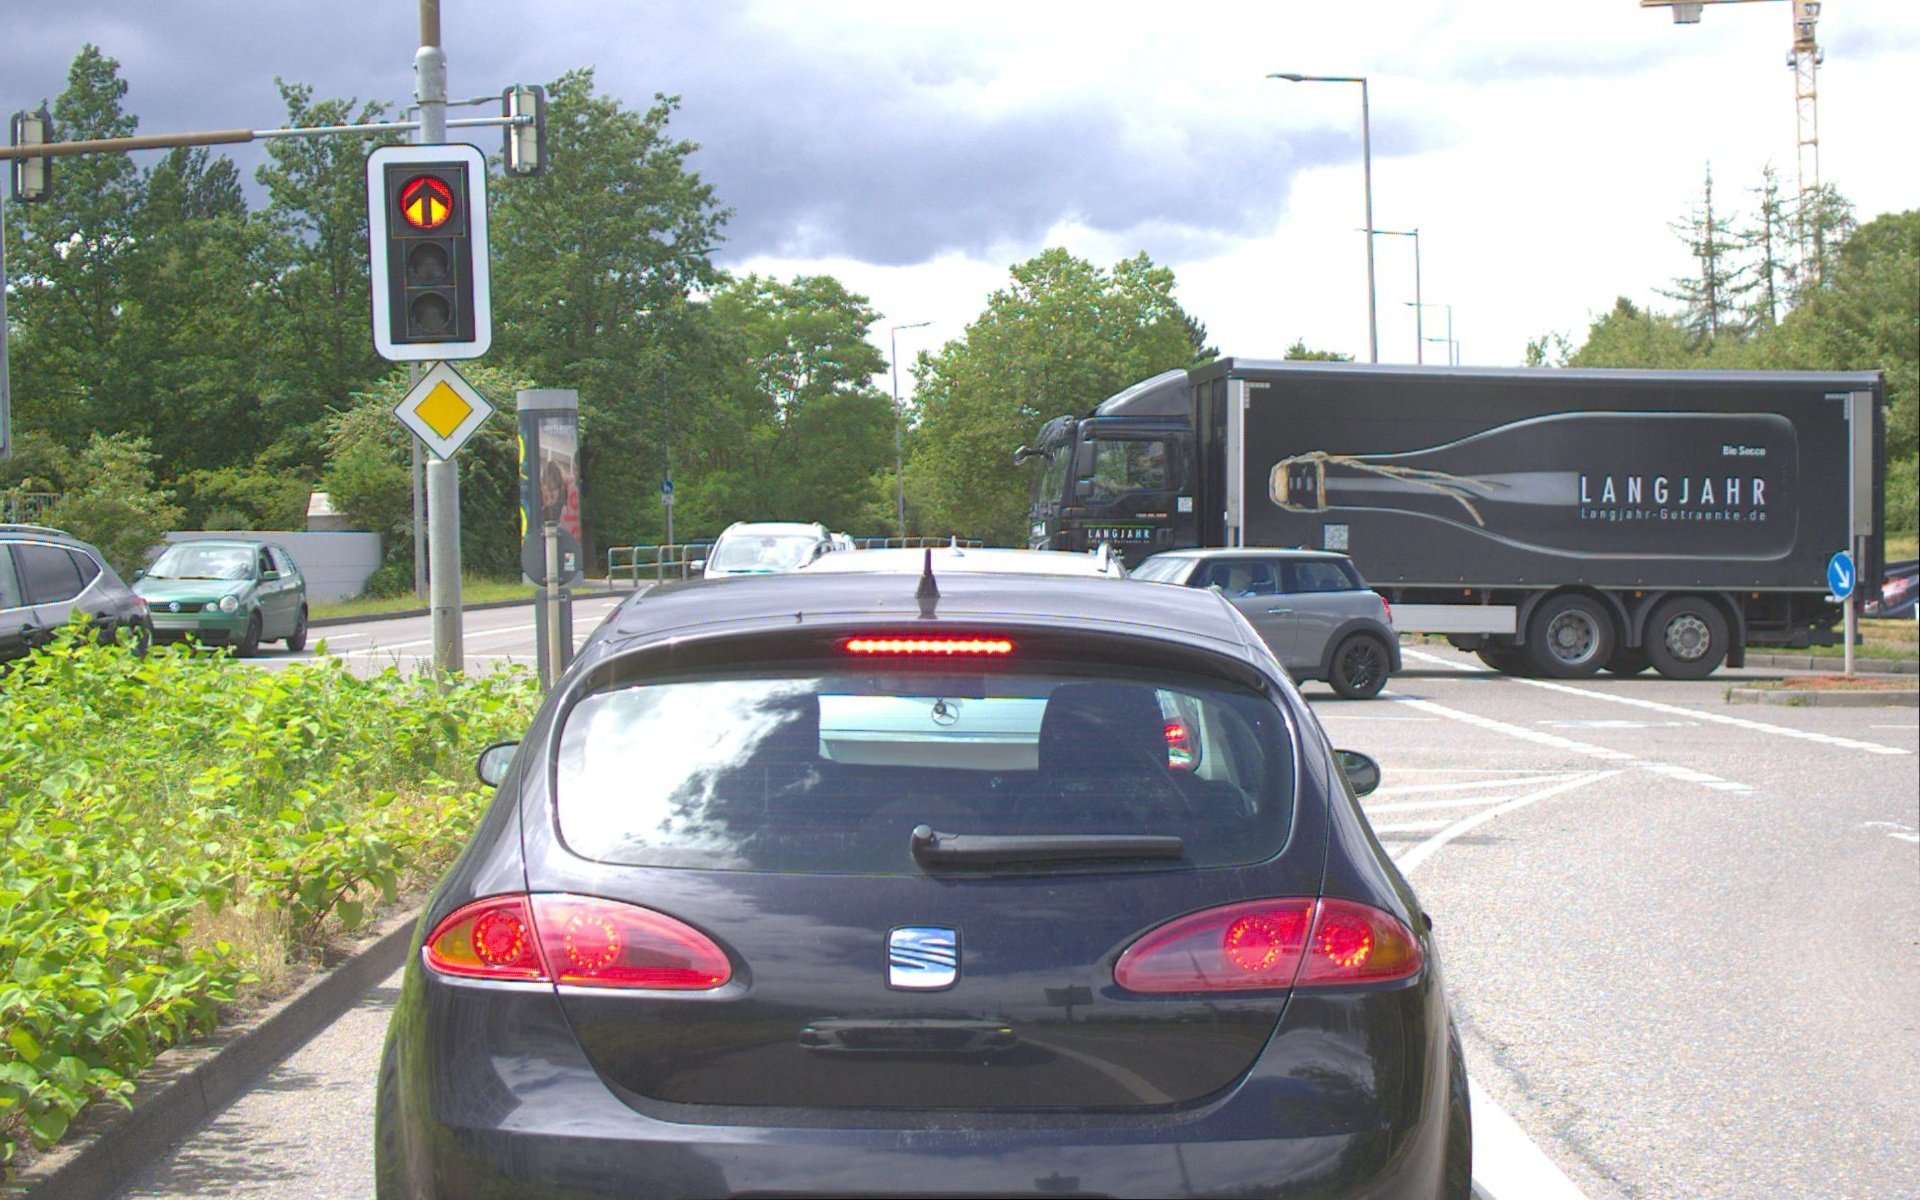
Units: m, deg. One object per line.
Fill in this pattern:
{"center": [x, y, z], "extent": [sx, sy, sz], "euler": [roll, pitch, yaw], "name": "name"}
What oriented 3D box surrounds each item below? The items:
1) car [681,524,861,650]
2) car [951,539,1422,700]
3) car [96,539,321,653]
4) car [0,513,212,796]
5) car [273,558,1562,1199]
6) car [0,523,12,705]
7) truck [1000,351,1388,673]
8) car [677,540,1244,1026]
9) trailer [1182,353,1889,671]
{"center": [-2.480, -0.206, 46.031], "extent": [1.994, 1.590, 4.000], "euler": [0, 1, 3], "name": "car"}
{"center": [2.142, 0.141, 32.583], "extent": [3.986, 1.415, 2.000], "euler": [-1, 1, -26], "name": "car"}
{"center": [-9.413, -0.083, 43.349], "extent": [1.993, 1.347, 4.000], "euler": [0, 1, -1], "name": "car"}
{"center": [-6.356, 0.319, 20.024], "extent": [1.995, 1.610, 4.315], "euler": [-1, 1, 18], "name": "car"}
{"center": [-0.083, 0.663, 6.536], "extent": [1.773, 1.447, 3.582], "euler": [0, 1, -1], "name": "car"}
{"center": [-9.911, 0.171, 27.421], "extent": [1.997, 1.520, 4.311], "euler": [-1, 1, 31], "name": "car"}
{"center": [2.555, -0.972, 38.163], "extent": [3.986, 3.457, 2.001], "euler": [0, 1, -7], "name": "truck"}
{"center": [-0.082, 0.550, 12.747], "extent": [1.773, 1.486, 3.583], "euler": [-2, 1, -3], "name": "car"}
{"center": [6.420, -0.997, 38.677], "extent": [7.583, 3.446, 2.001], "euler": [0, 1, -7], "name": "trailer"}
